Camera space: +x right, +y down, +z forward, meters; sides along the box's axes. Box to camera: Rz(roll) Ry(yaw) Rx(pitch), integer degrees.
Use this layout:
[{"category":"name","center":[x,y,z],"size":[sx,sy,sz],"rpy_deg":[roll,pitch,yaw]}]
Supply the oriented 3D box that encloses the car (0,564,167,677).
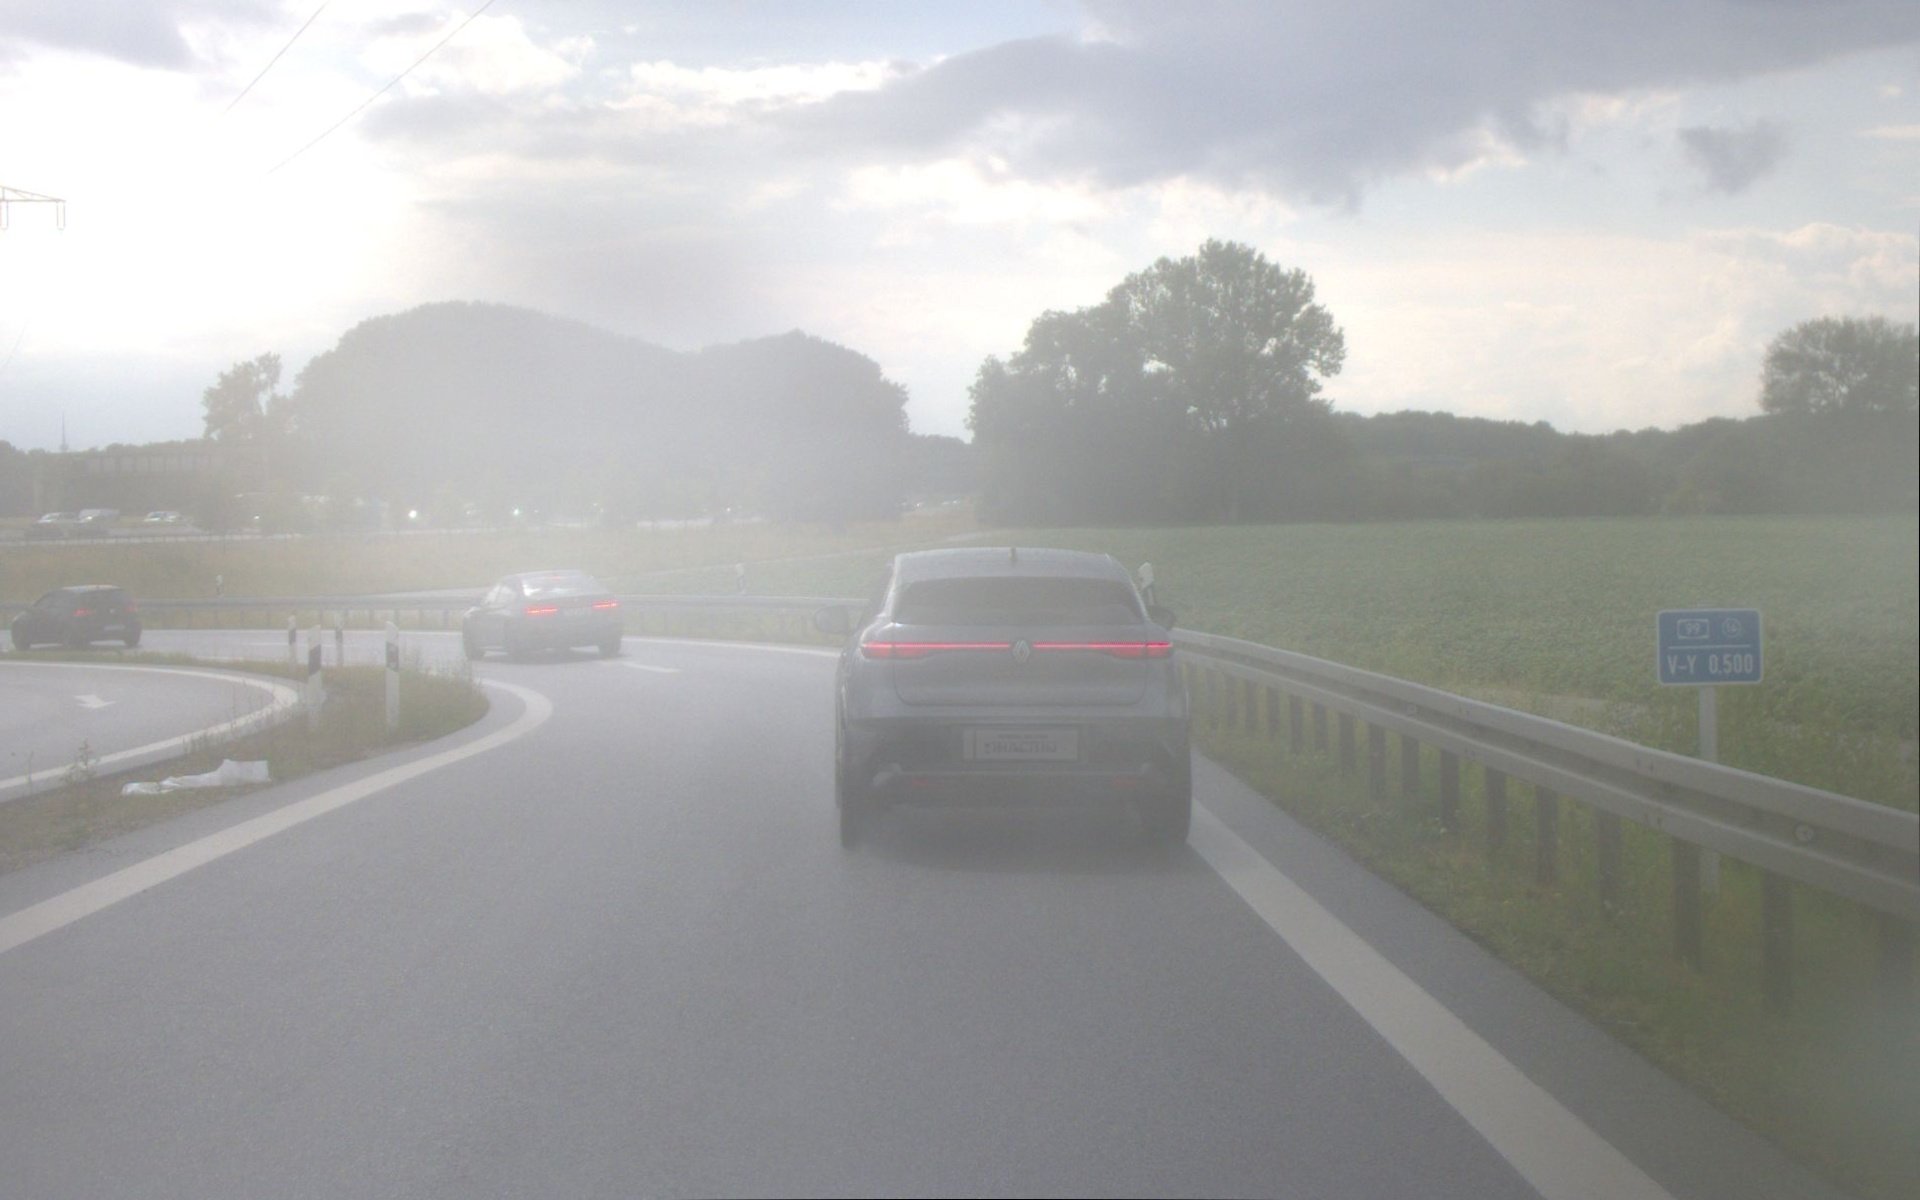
[{"category":"car","center":[-20.897,0.440,80.534],"size":[2.352,2.299,5.127],"rpy_deg":[-3,4,-40]}]

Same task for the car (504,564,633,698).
[{"category":"car","center":[-6.852,0.497,60.597],"size":[2.120,2.011,5.536],"rpy_deg":[-1,3,-6]}]

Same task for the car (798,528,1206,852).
[{"category":"car","center":[0.217,0.400,18.979],"size":[1.993,1.561,4.149],"rpy_deg":[1,1,0]}]
